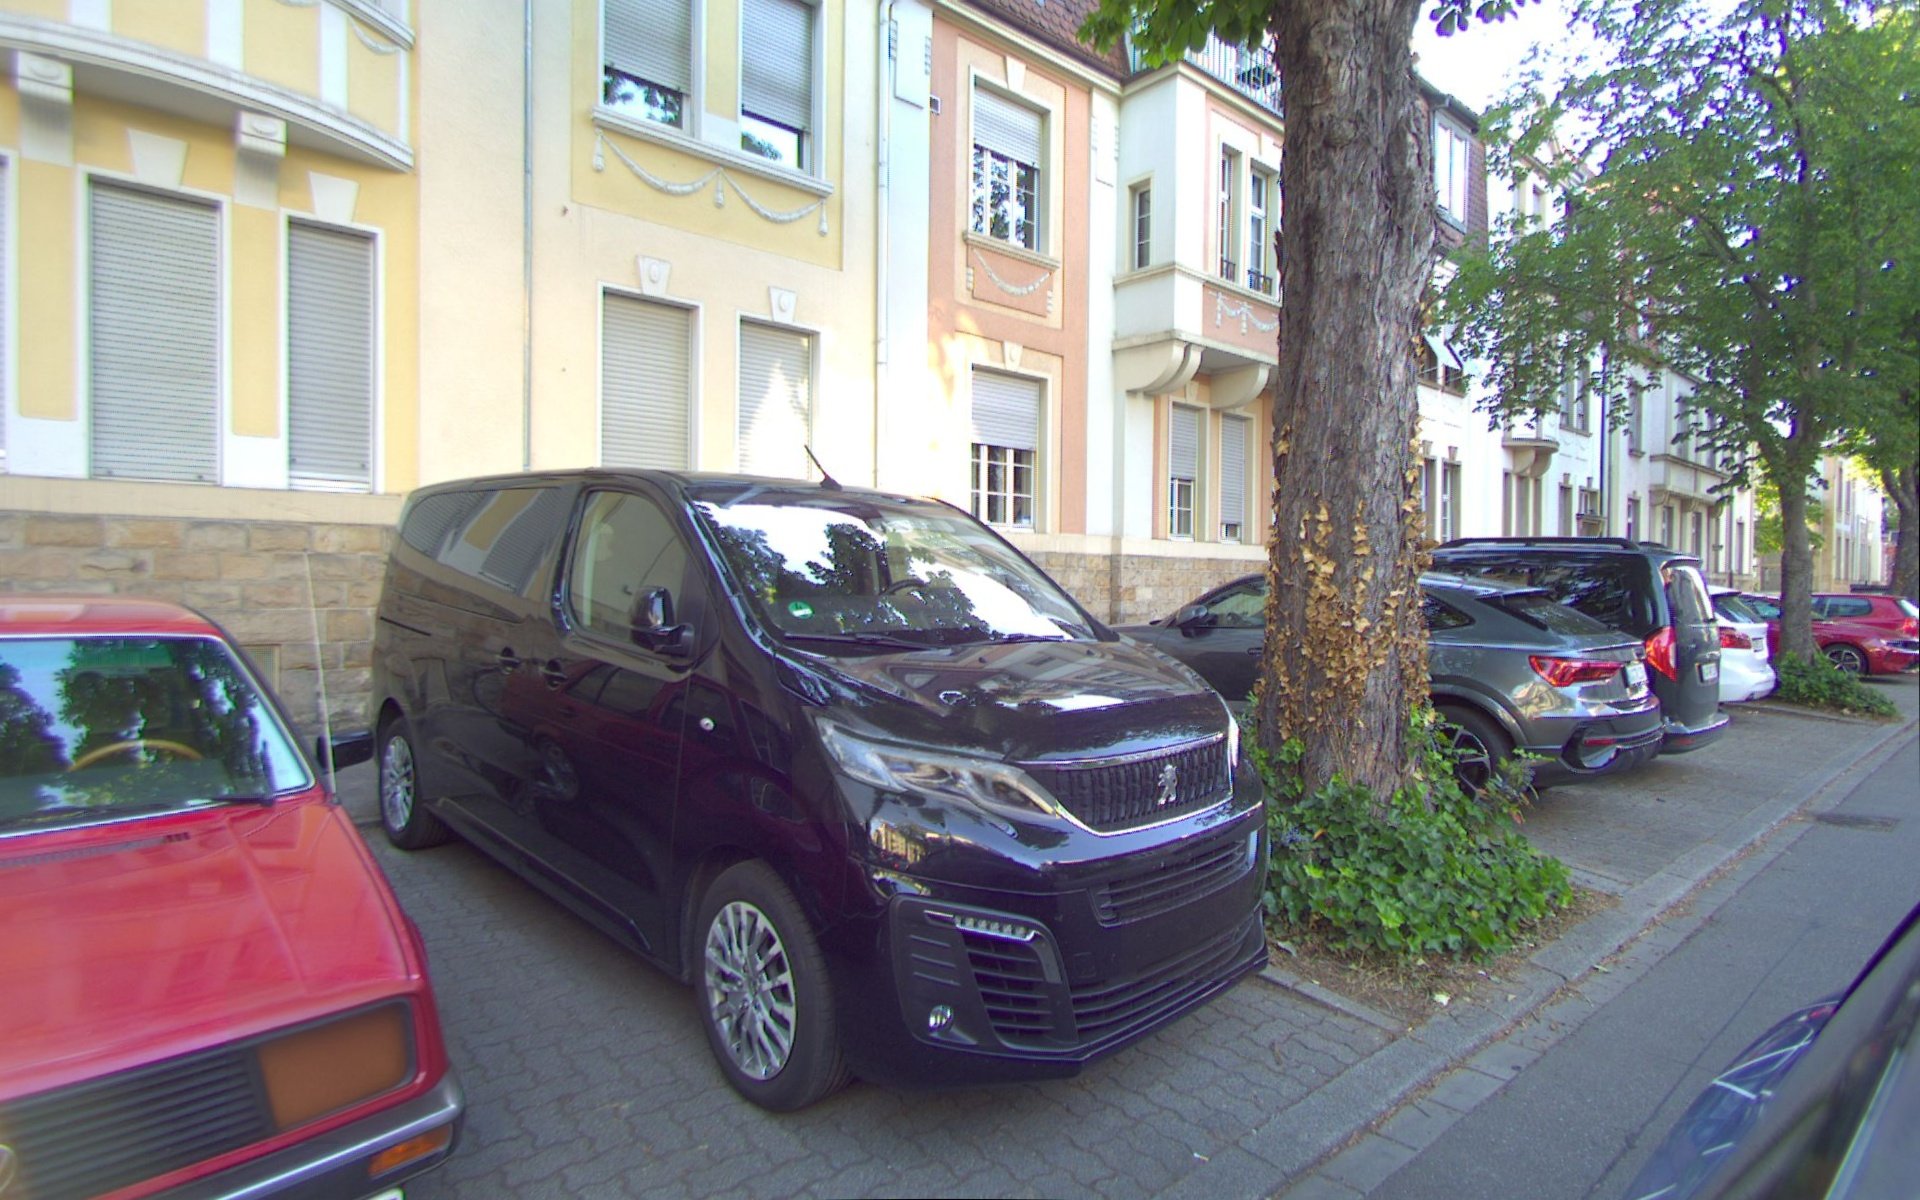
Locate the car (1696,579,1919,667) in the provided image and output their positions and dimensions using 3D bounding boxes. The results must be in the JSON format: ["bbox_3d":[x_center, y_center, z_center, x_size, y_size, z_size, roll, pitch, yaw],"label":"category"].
[{"bbox_3d":[16.872,0.384,19.803,1.628,1.499,3.682,0,3,-38],"label":"car"}]

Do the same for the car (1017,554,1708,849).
[{"bbox_3d":[2.714,0.460,7.675,1.815,1.542,4.513,-1,3,-44],"label":"car"}]

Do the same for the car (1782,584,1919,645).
[{"bbox_3d":[23.943,0.361,26.366,1.548,1.416,3.681,0,3,-39],"label":"car"}]

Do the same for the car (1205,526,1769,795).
[{"bbox_3d":[4.497,0.322,9.128,1.813,1.860,4.116,0,3,-42],"label":"car"}]

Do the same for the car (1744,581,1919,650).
[{"bbox_3d":[21.829,0.335,24.959,1.548,1.484,3.681,0,3,-39],"label":"car"}]

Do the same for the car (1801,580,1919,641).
[{"bbox_3d":[25.846,0.275,28.018,1.548,1.576,3.681,0,3,-39],"label":"car"}]

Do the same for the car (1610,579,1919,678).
[{"bbox_3d":[14.763,0.411,18.447,1.833,1.470,4.533,0,3,-38],"label":"car"}]

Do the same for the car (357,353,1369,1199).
[{"bbox_3d":[-0.959,0.331,4.457,1.867,1.897,4.753,-1,3,-44],"label":"car"}]

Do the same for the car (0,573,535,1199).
[{"bbox_3d":[-2.895,0.632,3.016,1.603,1.332,4.140,-1,3,-44],"label":"car"}]

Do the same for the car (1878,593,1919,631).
[{"bbox_3d":[31.870,0.432,32.454,1.515,1.164,3.400,0,3,-39],"label":"car"}]

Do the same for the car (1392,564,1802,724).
[{"bbox_3d":[7.681,0.395,12.508,1.689,1.597,3.948,0,3,-41],"label":"car"}]

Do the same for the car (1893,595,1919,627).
[{"bbox_3d":[34.250,0.434,34.518,1.515,1.076,3.400,0,3,-39],"label":"car"}]
